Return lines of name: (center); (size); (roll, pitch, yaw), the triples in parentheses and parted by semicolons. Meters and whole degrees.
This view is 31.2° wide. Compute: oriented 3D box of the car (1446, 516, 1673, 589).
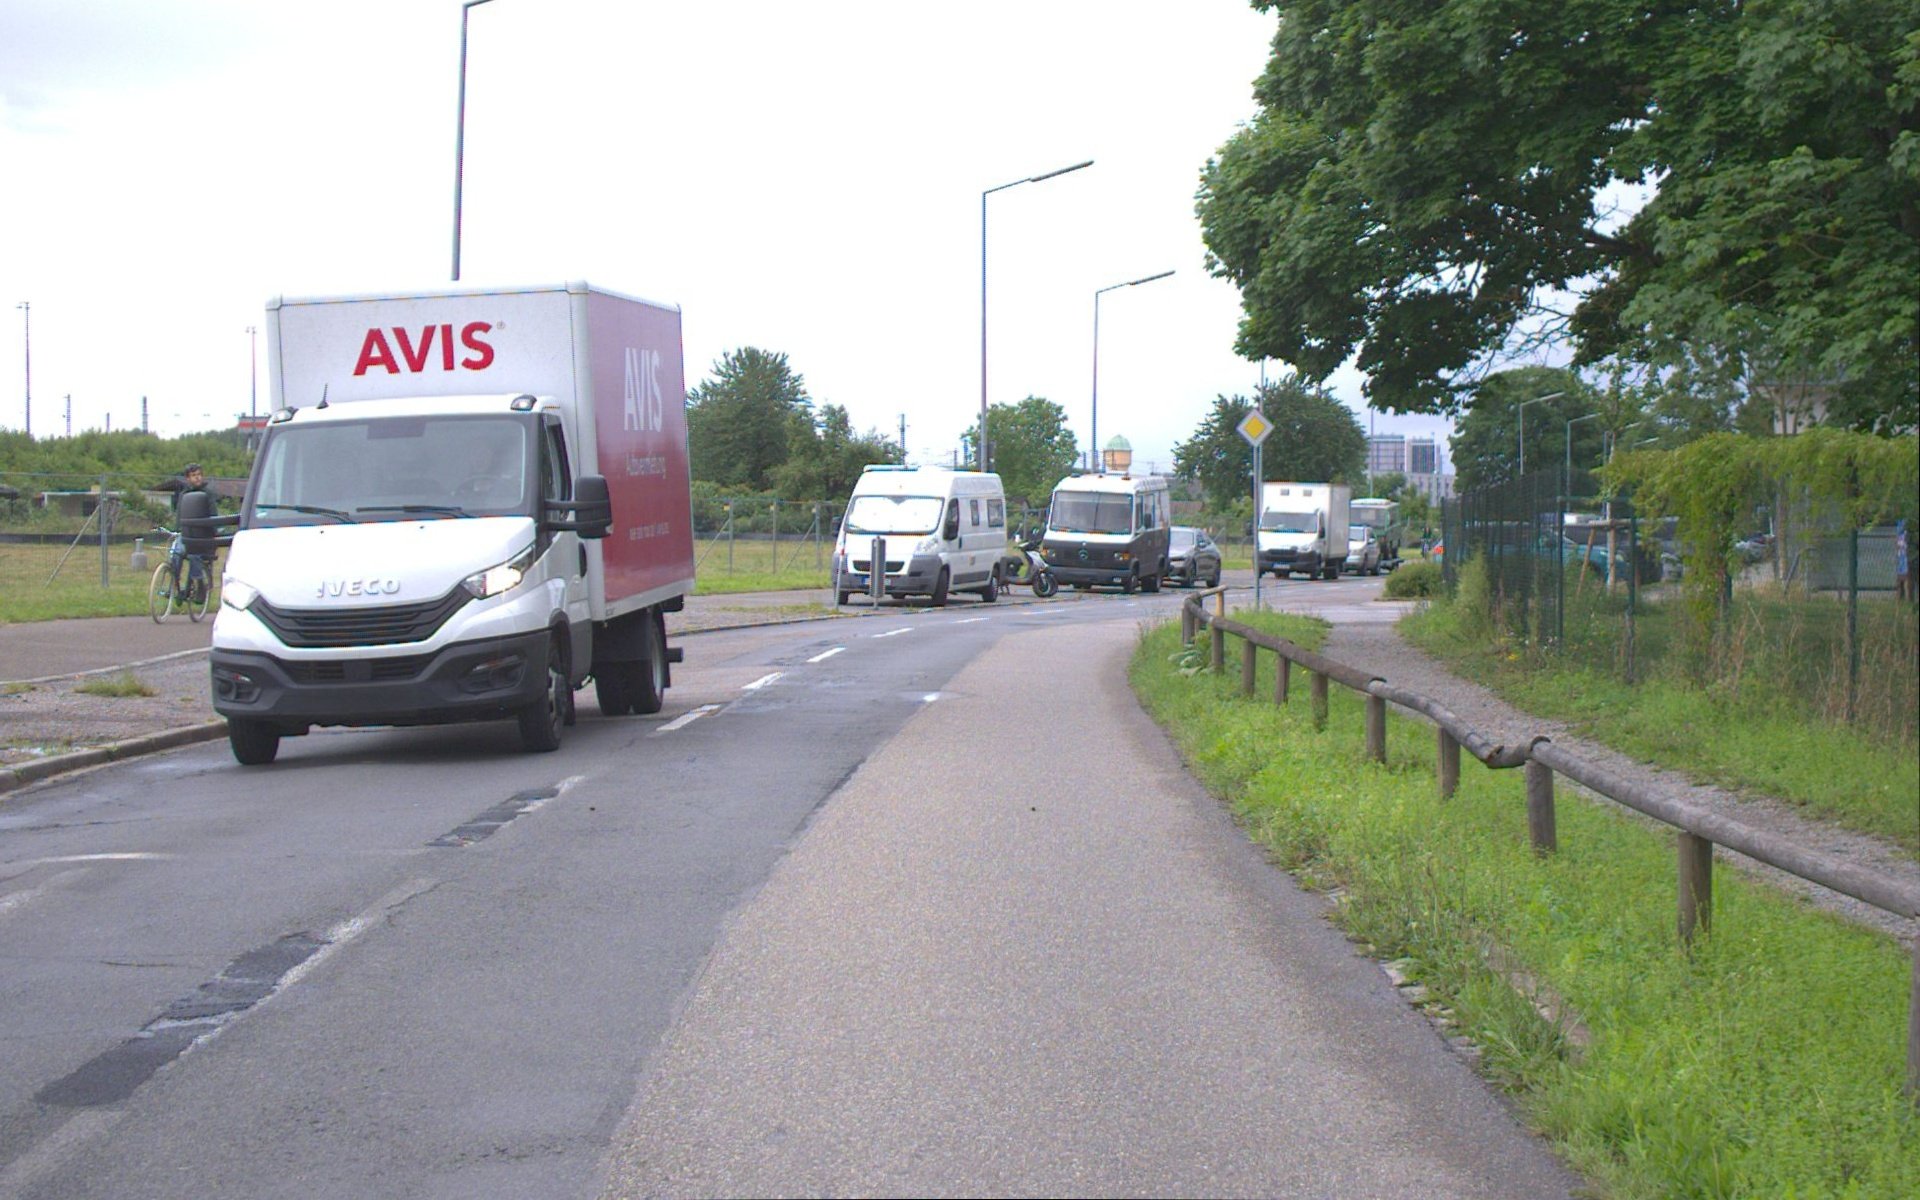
car: (13.419, -1.073, 76.930); (4.864, 1.495, 1.841); (1, 3, 15)

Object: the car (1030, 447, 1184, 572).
car: (3.460, -2.154, 79.812); (2.302, 2.724, 6.088); (1, 3, 15)

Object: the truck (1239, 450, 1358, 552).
truck: (10.559, -3.132, 106.532); (2.463, 3.049, 8.158); (1, 3, 14)

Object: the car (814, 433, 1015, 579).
car: (-0.756, -1.800, 63.578); (2.290, 2.546, 6.407); (1, 3, 13)

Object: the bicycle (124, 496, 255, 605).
bicycle: (-9.161, -0.608, 40.969); (0.819, 1.199, 2.557); (1, 3, 4)

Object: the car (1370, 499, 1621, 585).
car: (10.916, -1.199, 69.978); (4.864, 1.610, 1.841); (1, 3, 15)

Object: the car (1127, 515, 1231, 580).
car: (5.541, -1.340, 86.618); (1.781, 1.499, 3.997); (1, 3, 16)

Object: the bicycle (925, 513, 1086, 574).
bicycle: (0.952, -1.191, 71.725); (3.122, 1.195, 1.364); (1, 3, 14)

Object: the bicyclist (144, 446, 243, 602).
bicyclist: (-9.143, -0.920, 41.047); (0.827, 1.815, 1.330); (1, 3, 3)

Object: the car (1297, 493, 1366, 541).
car: (12.498, -2.789, 115.523); (1.756, 1.520, 3.998); (1, 3, 15)

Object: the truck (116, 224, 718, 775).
truck: (-3.360, -0.717, 23.314); (2.341, 3.051, 7.496); (-2, 2, 4)

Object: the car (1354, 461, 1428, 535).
car: (15.474, -3.689, 123.252); (2.006, 2.565, 4.783); (1, 3, 15)

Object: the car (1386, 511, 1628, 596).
car: (11.534, -1.000, 72.467); (4.864, 1.657, 1.841); (1, 3, 15)
